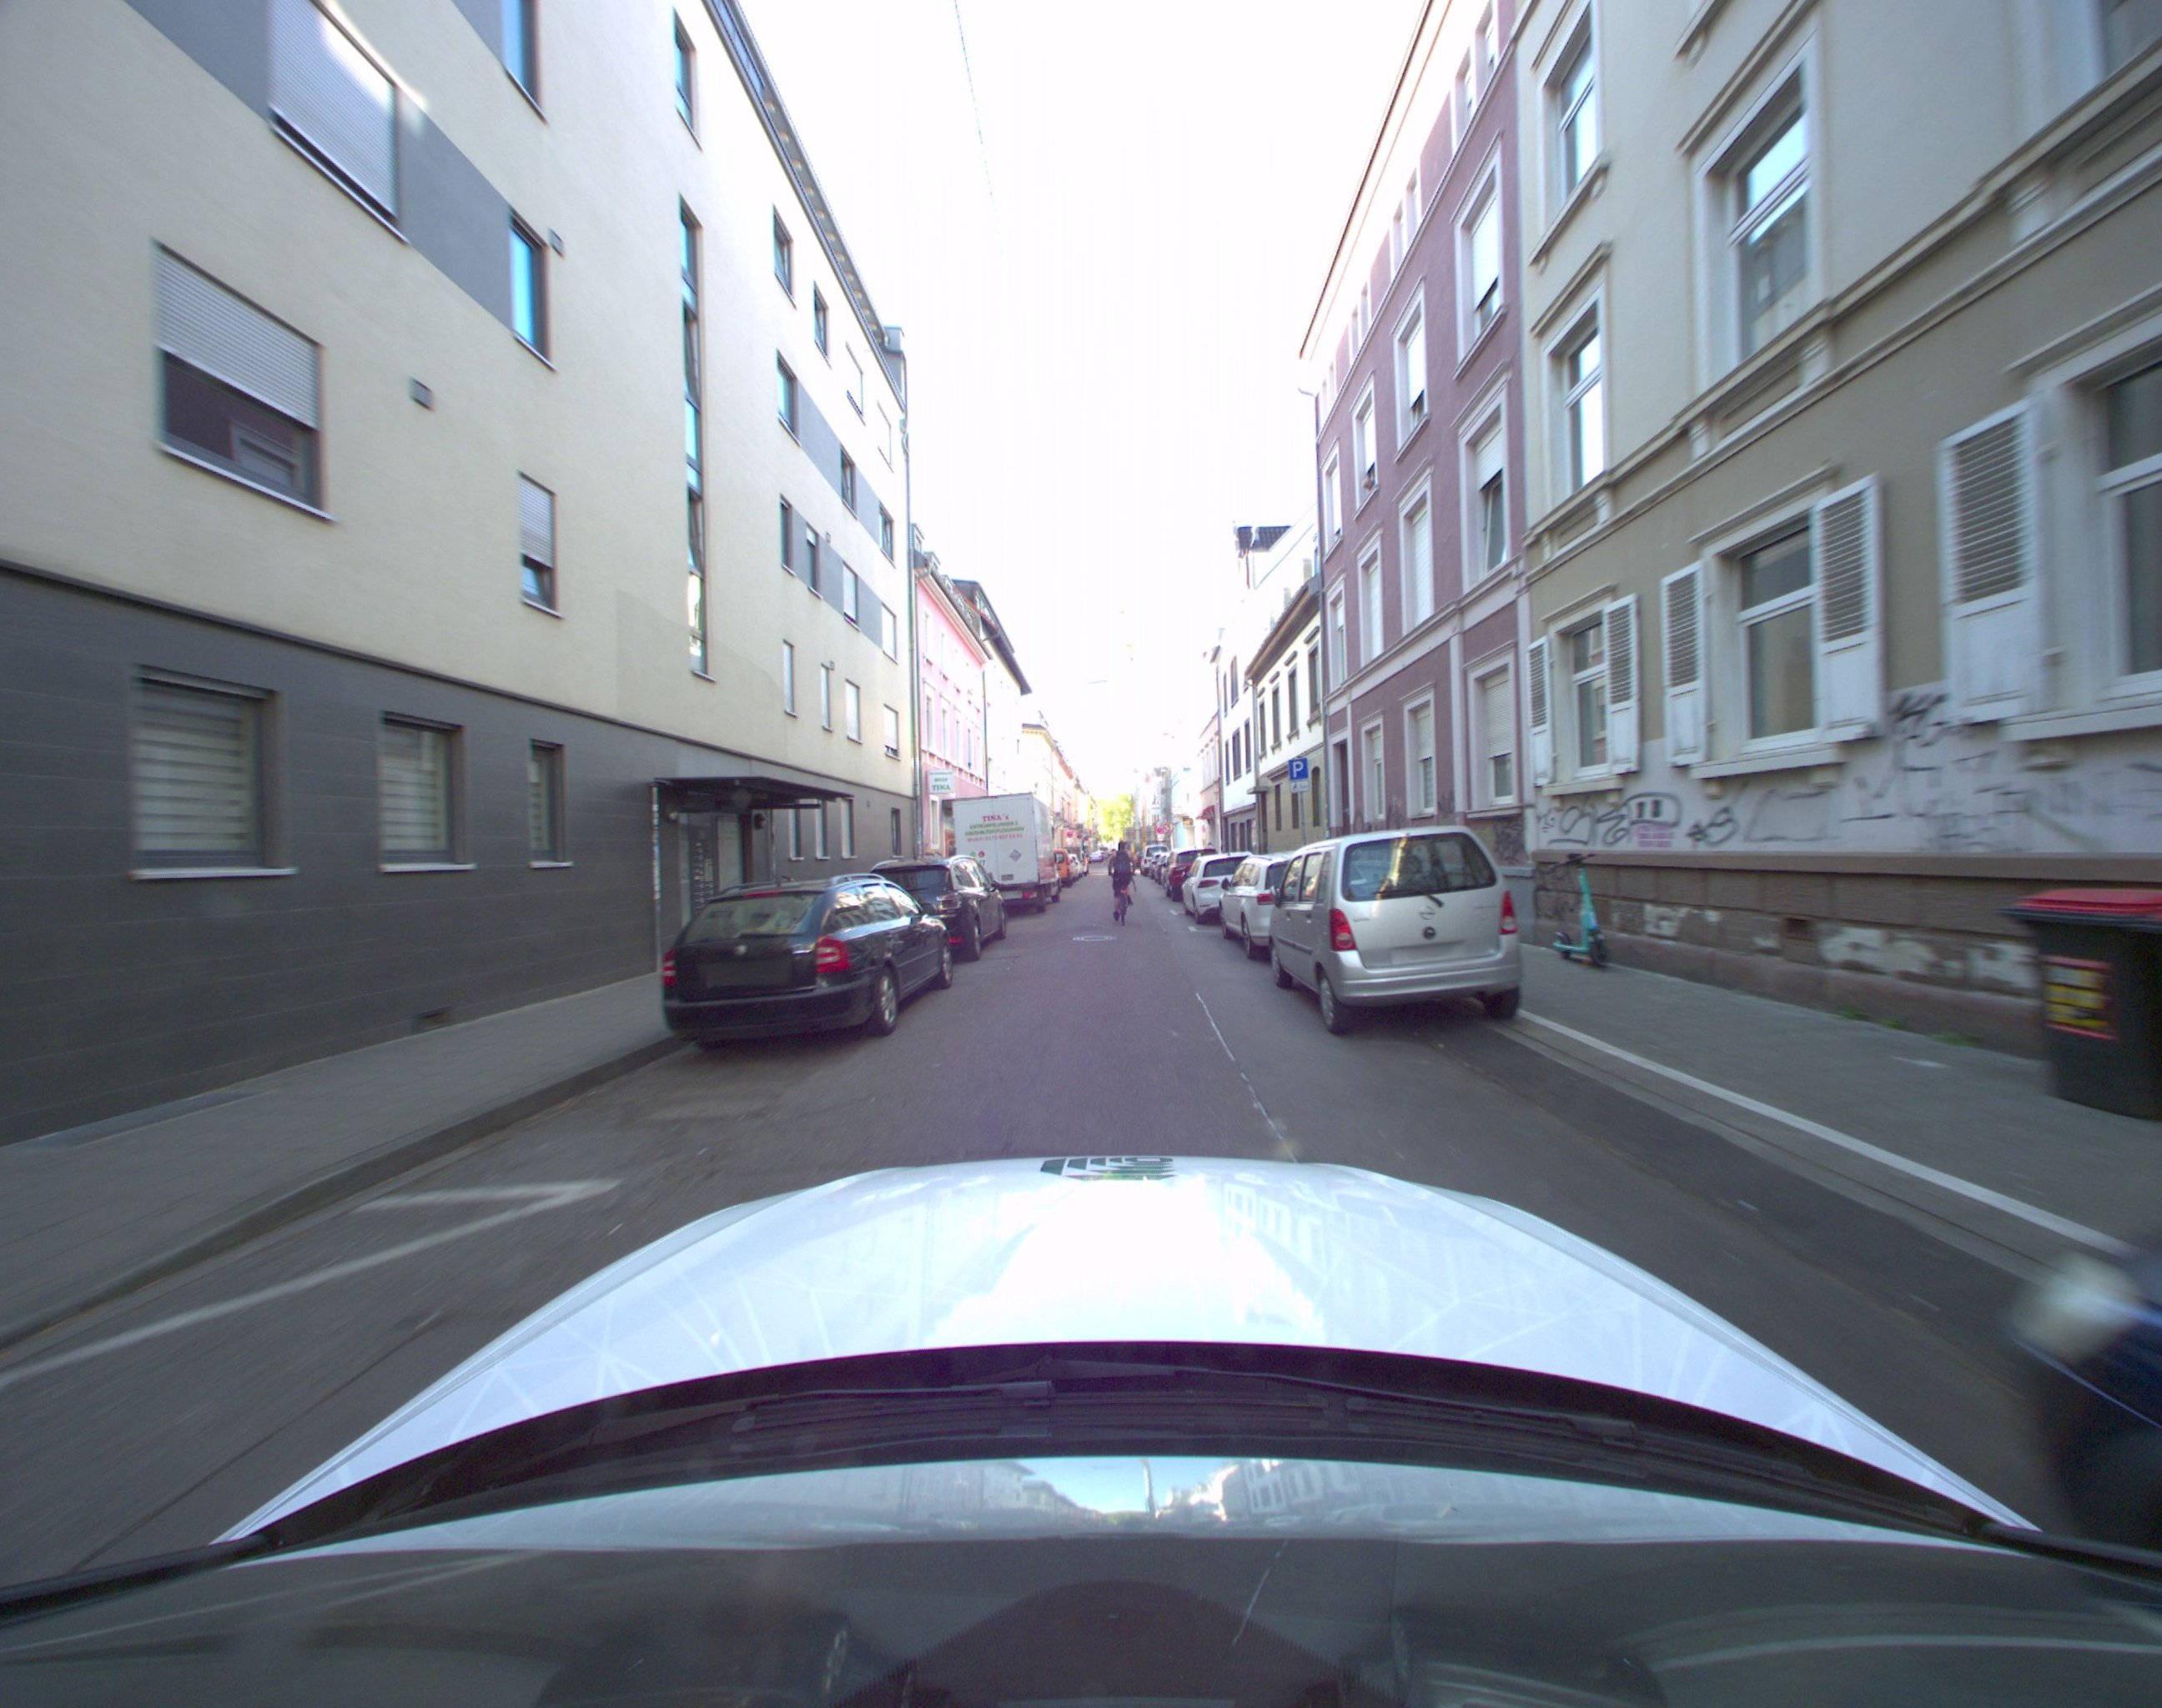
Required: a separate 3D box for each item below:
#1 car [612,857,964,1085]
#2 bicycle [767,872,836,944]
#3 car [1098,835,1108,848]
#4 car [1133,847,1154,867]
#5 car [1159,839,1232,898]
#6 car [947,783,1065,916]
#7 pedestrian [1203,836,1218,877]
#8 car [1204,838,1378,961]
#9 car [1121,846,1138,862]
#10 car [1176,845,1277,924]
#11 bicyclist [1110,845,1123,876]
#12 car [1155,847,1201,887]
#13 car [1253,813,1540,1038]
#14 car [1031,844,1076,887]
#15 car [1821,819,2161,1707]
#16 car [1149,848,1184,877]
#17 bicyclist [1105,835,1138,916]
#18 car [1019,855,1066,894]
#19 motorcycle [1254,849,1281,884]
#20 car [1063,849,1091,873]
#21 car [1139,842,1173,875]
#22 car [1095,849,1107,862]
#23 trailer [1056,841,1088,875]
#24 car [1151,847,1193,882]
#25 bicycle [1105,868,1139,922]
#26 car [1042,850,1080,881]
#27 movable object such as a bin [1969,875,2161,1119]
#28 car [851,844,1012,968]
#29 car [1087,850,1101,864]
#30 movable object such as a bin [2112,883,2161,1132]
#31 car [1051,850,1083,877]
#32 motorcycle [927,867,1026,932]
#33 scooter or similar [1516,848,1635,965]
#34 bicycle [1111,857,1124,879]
[{"bbox_3d":[-2.506,0.883,8.300,1.710,1.478,4.501,-4,1,2],"label":"car"},{"bbox_3d":[-5.103,0.954,14.963,0.488,1.164,1.775,-3,0,3],"label":"bicycle"},{"bbox_3d":[4.074,-2.254,153.416,1.743,2.318,3.798,-2,0,2],"label":"car"},{"bbox_3d":[5.198,0.245,68.149,1.605,1.633,3.612,0,0,2],"label":"car"},{"bbox_3d":[3.707,0.436,27.014,1.910,1.706,4.368,-3,0,2],"label":"car"},{"bbox_3d":[-2.007,-0.107,24.655,2.334,3.291,7.160,-3,0,3],"label":"car"},{"bbox_3d":[6.511,0.134,41.089,0.641,2.014,0.764,0,-1,2],"label":"pedestrian"},{"bbox_3d":[3.160,0.620,13.216,1.690,1.543,4.631,-3,0,2],"label":"car"},{"bbox_3d":[4.999,0.019,84.278,1.605,1.560,3.612,0,0,2],"label":"car"},{"bbox_3d":[3.243,0.636,18.912,1.680,1.543,4.048,-3,0,2],"label":"car"},{"bbox_3d":[1.855,0.323,42.267,0.668,1.567,0.716,0,-1,1],"label":"bicyclist"},{"bbox_3d":[4.138,0.538,35.110,1.660,1.505,3.820,-4,0,3],"label":"car"},{"bbox_3d":[2.786,0.555,8.006,1.550,1.712,3.560,0,0,2],"label":"car"},{"bbox_3d":[-1.249,0.518,38.742,1.746,1.816,4.080,-3,0,2],"label":"car"},{"bbox_3d":[2.545,0.688,0.147,1.547,1.511,3.611,0,0,0],"label":"car"},{"bbox_3d":[4.727,0.482,45.598,1.742,1.487,3.804,-2,0,4],"label":"car"},{"bbox_3d":[0.866,0.446,17.559,0.665,1.676,1.097,0,0,2],"label":"bicyclist"},{"bbox_3d":[-1.563,0.827,34.427,1.572,1.483,3.567,-4,0,2],"label":"car"},{"bbox_3d":[6.272,0.417,27.461,0.499,1.095,1.879,-4,0,2],"label":"motorcycle"},{"bbox_3d":[-0.233,0.484,58.369,1.743,1.573,3.798,-2,0,2],"label":"car"},{"bbox_3d":[4.623,0.262,50.672,1.744,1.878,3.972,-2,0,0],"label":"car"},{"bbox_3d":[3.107,0.238,124.456,1.743,1.821,3.798,-2,0,2],"label":"car"},{"bbox_3d":[-0.554,0.283,54.061,1.874,2.092,3.739,-2,0,2],"label":"trailer"},{"bbox_3d":[4.405,0.479,39.700,1.639,1.475,3.973,-5,0,2],"label":"car"},{"bbox_3d":[0.868,0.855,17.586,0.674,1.074,1.943,0,0,2],"label":"bicycle"},{"bbox_3d":[-1.045,0.604,44.182,1.743,1.537,4.321,-2,0,2],"label":"car"},{"bbox_3d":[5.168,0.678,4.090,0.749,1.088,0.559,-3,0,1],"label":"movable object such as a bin"},{"bbox_3d":[-2.352,0.733,13.937,1.710,1.650,4.248,-4,1,2],"label":"car"},{"bbox_3d":[1.734,0.386,107.421,1.743,1.683,3.798,-2,0,2],"label":"car"},{"bbox_3d":[5.112,0.671,3.460,0.691,1.088,0.559,-3,0,1],"label":"movable object such as a bin"},{"bbox_3d":[-0.814,0.581,49.510,1.647,1.537,3.636,-2,0,2],"label":"car"},{"bbox_3d":[-2.305,0.992,18.185,0.782,1.253,2.120,-3,0,44],"label":"motorcycle"},{"bbox_3d":[5.519,0.547,9.167,0.448,1.182,1.369,-5,-1,2],"label":"scooter or similar"},{"bbox_3d":[1.872,0.703,42.202,0.646,1.129,2.137,0,0,2],"label":"bicycle"}]
